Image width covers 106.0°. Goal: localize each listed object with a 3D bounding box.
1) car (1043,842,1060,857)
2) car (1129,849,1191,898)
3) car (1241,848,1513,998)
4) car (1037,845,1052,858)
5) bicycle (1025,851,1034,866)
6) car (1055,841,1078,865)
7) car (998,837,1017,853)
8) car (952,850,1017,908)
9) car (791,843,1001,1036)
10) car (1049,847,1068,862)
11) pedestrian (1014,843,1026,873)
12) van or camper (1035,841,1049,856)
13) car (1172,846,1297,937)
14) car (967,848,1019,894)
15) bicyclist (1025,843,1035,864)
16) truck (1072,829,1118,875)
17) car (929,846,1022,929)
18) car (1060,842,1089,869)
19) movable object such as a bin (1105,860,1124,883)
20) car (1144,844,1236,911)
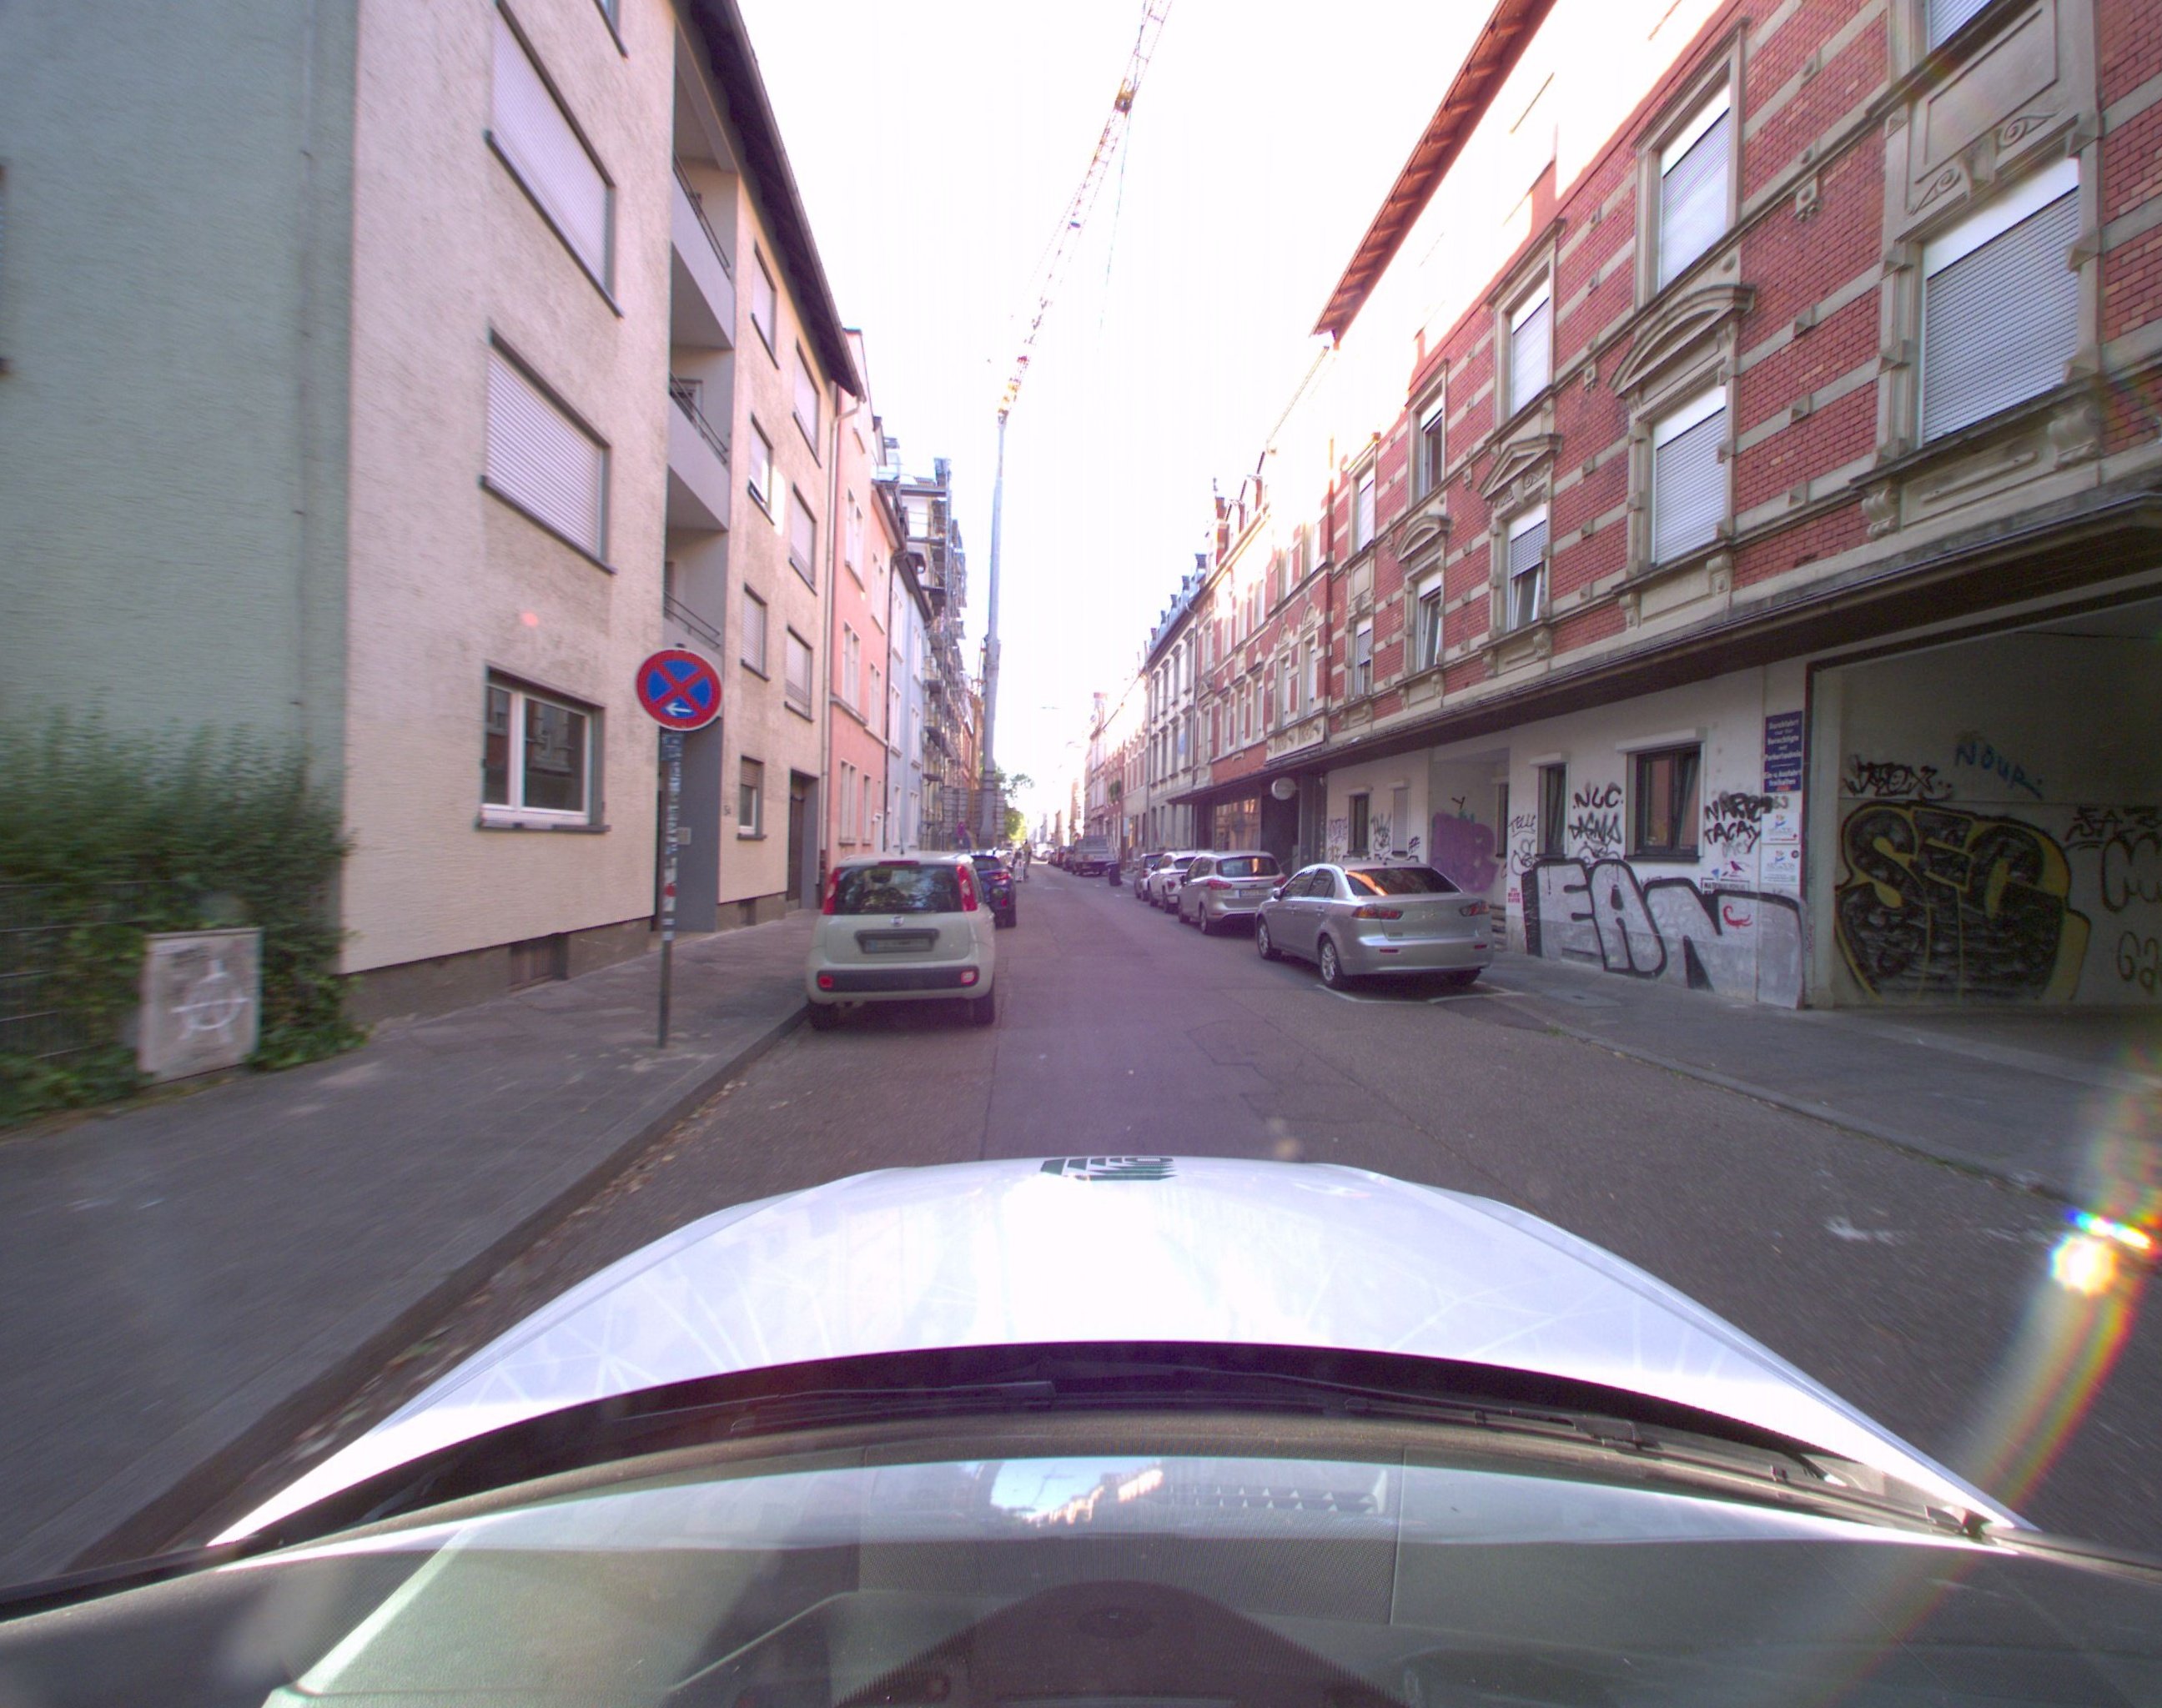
[{"bbox_3d":[-4.065,-0.587,110.599,1.991,2.013,3.992,1,0,-6],"label":"car"},{"bbox_3d":[2.629,0.604,27.818,1.593,1.560,3.809,0,0,-3],"label":"car"},{"bbox_3d":[3.589,0.720,10.833,1.718,1.562,4.391,1,1,-5],"label":"car"},{"bbox_3d":[-5.581,-0.387,124.672,1.991,1.848,3.992,0,0,-6],"label":"car"},{"bbox_3d":[-4.341,0.396,69.035,0.723,1.186,2.039,2,1,-4],"label":"bicycle"},{"bbox_3d":[-1.356,-0.110,72.587,1.673,2.031,3.860,0,0,-7],"label":"car"},{"bbox_3d":[-7.257,-0.852,80.212,1.673,1.571,3.860,0,0,-7],"label":"car"},{"bbox_3d":[-2.680,0.638,23.272,1.672,1.511,4.407,0,0,-5],"label":"car"},{"bbox_3d":[-1.720,0.676,8.558,1.673,1.539,3.860,0,0,-7],"label":"car"},{"bbox_3d":[-2.417,0.032,85.784,1.673,1.571,3.860,0,0,-7],"label":"car"},{"bbox_3d":[-3.654,0.238,48.735,0.656,1.732,0.719,-1,0,-5],"label":"pedestrian"},{"bbox_3d":[-6.657,-0.878,138.808,1.993,2.508,4.190,0,0,-9],"label":"van or camper"},{"bbox_3d":[3.059,0.689,16.954,1.637,1.656,3.864,1,0,-4],"label":"car"},{"bbox_3d":[-3.043,0.541,28.699,1.672,1.477,4.600,0,0,-5],"label":"car"},{"bbox_3d":[-4.336,-0.062,69.100,0.729,1.761,0.834,1,1,-5],"label":"bicyclist"},{"bbox_3d":[0.786,-0.133,49.728,2.187,2.607,5.224,0,0,-6],"label":"truck"},{"bbox_3d":[-2.239,0.613,17.583,1.727,1.539,4.367,-1,0,-7],"label":"car"},{"bbox_3d":[-0.497,0.115,60.135,1.673,1.963,4.099,0,0,-7],"label":"car"},{"bbox_3d":[1.550,0.797,37.509,0.794,1.056,0.659,1,0,-5],"label":"movable object such as a bin"},{"bbox_3d":[2.899,0.595,22.587,1.743,1.675,4.335,0,0,-4],"label":"car"}]
